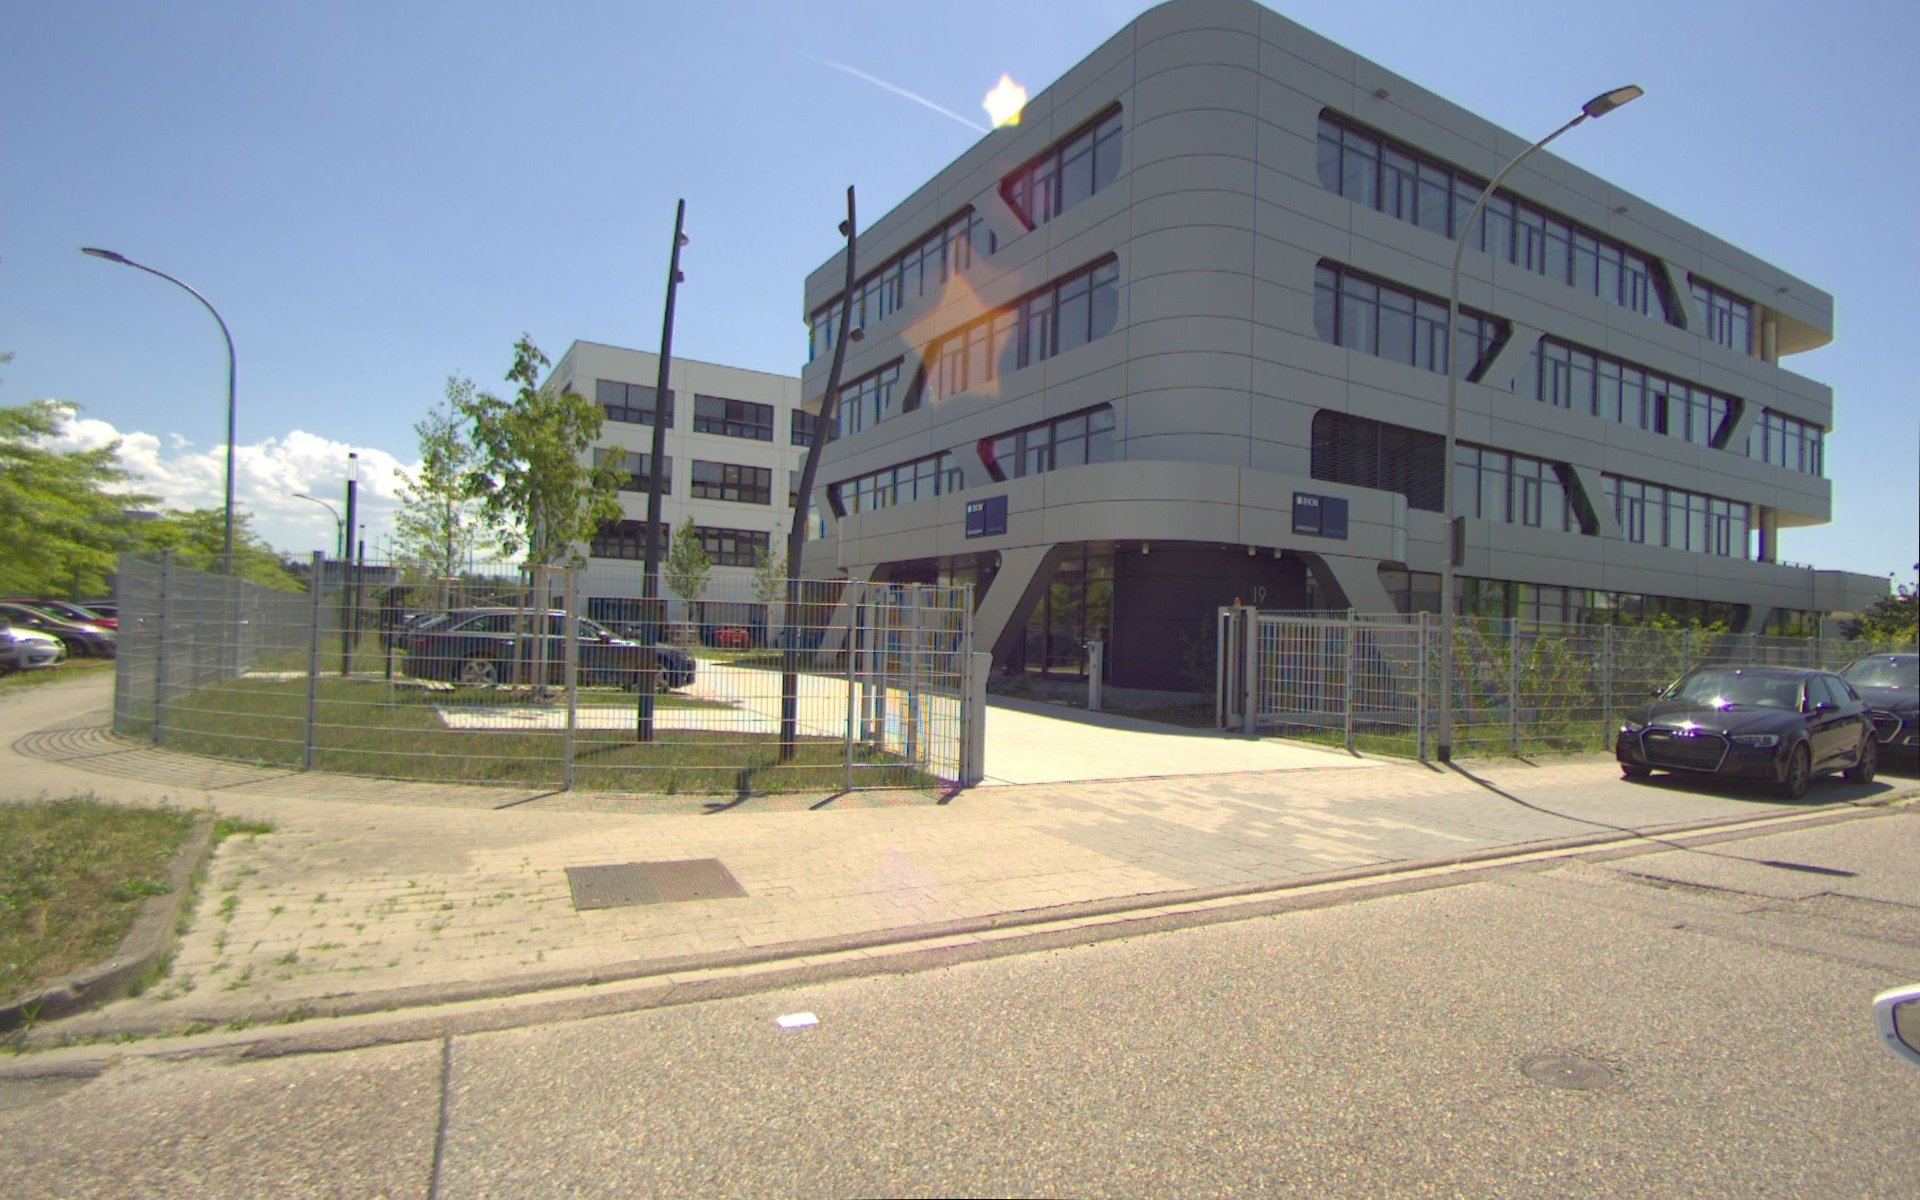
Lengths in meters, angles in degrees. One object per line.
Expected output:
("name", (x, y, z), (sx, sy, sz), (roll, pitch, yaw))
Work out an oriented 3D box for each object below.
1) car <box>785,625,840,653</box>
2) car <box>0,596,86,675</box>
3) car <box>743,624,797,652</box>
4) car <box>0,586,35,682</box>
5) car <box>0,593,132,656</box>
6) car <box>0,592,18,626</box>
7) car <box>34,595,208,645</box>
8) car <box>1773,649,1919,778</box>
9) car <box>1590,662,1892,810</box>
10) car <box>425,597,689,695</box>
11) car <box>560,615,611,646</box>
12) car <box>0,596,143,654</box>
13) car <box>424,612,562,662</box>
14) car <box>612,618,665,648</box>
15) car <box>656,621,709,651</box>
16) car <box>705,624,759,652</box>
("car", (-8.840, 2.300, 59.990), (1.757, 1.531, 4.070), (4, -3, -32))
("car", (-19.473, 0.639, 19.061), (4.069, 1.495, 1.598), (2, -2, -31))
("car", (-11.207, 2.208, 59.009), (1.757, 1.531, 4.070), (4, -3, -32))
("car", (-18.509, 0.528, 16.755), (4.201, 1.642, 1.599), (2, -2, -29))
("car", (-23.231, 0.595, 24.797), (4.069, 1.495, 1.598), (2, -2, -31))
("car", (-50.397, 0.340, 50.363), (4.155, 1.720, 1.943), (4, -2, -30))
("car", (-27.036, 0.682, 32.566), (4.069, 1.495, 1.598), (2, -2, -31))
("car", (14.574, 1.658, 15.329), (4.793, 1.673, 1.762), (3, -2, -30))
("car", (9.800, 1.578, 12.518), (4.142, 1.485, 1.759), (3, -2, -34))
("car", (-7.099, 0.846, 17.816), (4.060, 1.531, 1.761), (4, -3, -32))
("car", (-19.961, 1.626, 53.429), (1.757, 1.531, 4.070), (4, -3, -32))
("car", (-24.587, 0.664, 26.816), (4.069, 1.495, 1.598), (2, -2, -31))
("car", (-15.991, 1.295, 34.441), (4.060, 1.531, 1.761), (4, -3, -32))
("car", (-17.559, 1.770, 54.721), (1.757, 1.531, 4.070), (4, -3, -32))
("car", (-15.443, 1.967, 55.788), (1.757, 1.531, 4.070), (4, -3, -32))
("car", (-13.062, 2.158, 57.472), (1.757, 1.531, 4.070), (4, -3, -32))
